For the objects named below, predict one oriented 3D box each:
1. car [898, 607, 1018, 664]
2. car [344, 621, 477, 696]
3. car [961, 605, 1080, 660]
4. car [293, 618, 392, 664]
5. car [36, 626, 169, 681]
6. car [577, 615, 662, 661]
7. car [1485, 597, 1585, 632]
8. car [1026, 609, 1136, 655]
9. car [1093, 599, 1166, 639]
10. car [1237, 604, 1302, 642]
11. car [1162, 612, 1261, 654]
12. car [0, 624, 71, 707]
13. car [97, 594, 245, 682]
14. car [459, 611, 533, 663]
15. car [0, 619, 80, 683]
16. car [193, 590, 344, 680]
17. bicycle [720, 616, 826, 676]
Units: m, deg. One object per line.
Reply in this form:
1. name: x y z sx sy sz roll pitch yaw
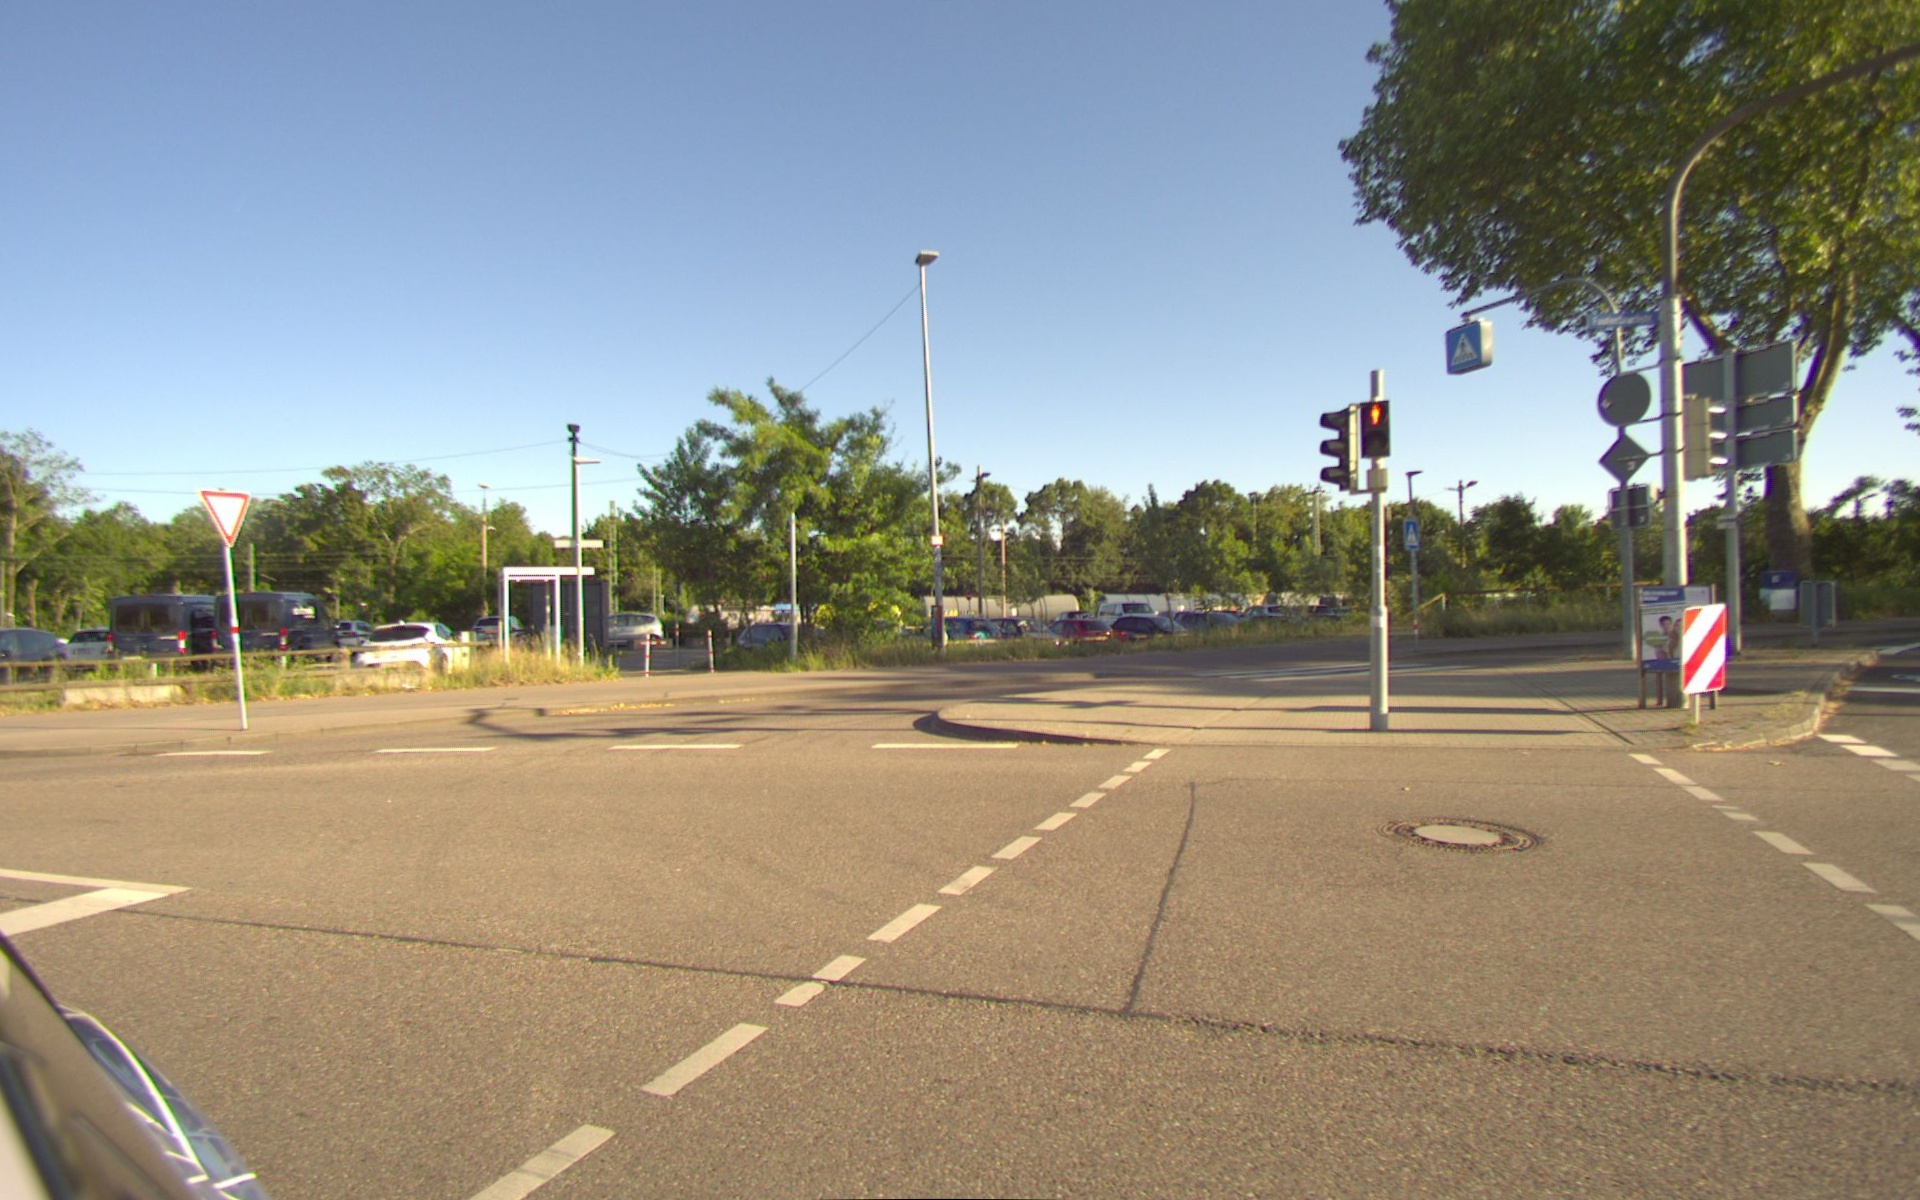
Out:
1. car: -0.117 1.132 33.077 1.981 1.678 3.860 -2 0 -36
2. car: -13.062 1.326 24.336 1.859 1.522 4.286 -2 0 -15
3. car: 1.976 1.057 34.111 1.811 1.696 4.009 -2 0 -36
4. car: -23.226 1.502 38.244 1.954 1.510 4.214 -2 0 -13
5. car: -27.349 1.664 32.430 1.803 1.519 3.762 -2 0 -15
6. car: -14.335 1.543 42.446 2.141 1.743 4.503 -2 0 -35
7. car: 31.661 0.762 55.913 1.967 1.778 4.974 -2 0 -12
8. car: 4.196 1.096 35.587 1.700 1.470 4.012 -2 0 -31
9. car: 8.458 0.901 51.045 2.165 1.852 5.034 -2 0 -8
10. car: 15.961 1.154 52.454 1.712 1.852 4.044 -2 0 -6
11. car: 9.855 1.246 39.975 1.966 1.486 4.012 -2 0 -18
12. car: -21.134 1.416 21.553 1.841 1.667 4.158 -2 1 -19
13. car: -24.400 1.118 31.519 2.093 2.486 4.495 -2 0 -16
14. car: -18.114 1.382 39.651 1.953 1.822 4.215 -2 0 -16
15. car: -29.242 1.536 31.004 1.797 1.592 4.012 -2 3 -15
16. car: -21.945 1.044 32.435 2.361 2.536 5.528 -2 0 -16
17. bicycle: -5.370 1.318 29.011 2.935 1.628 0.900 -2 0 22
